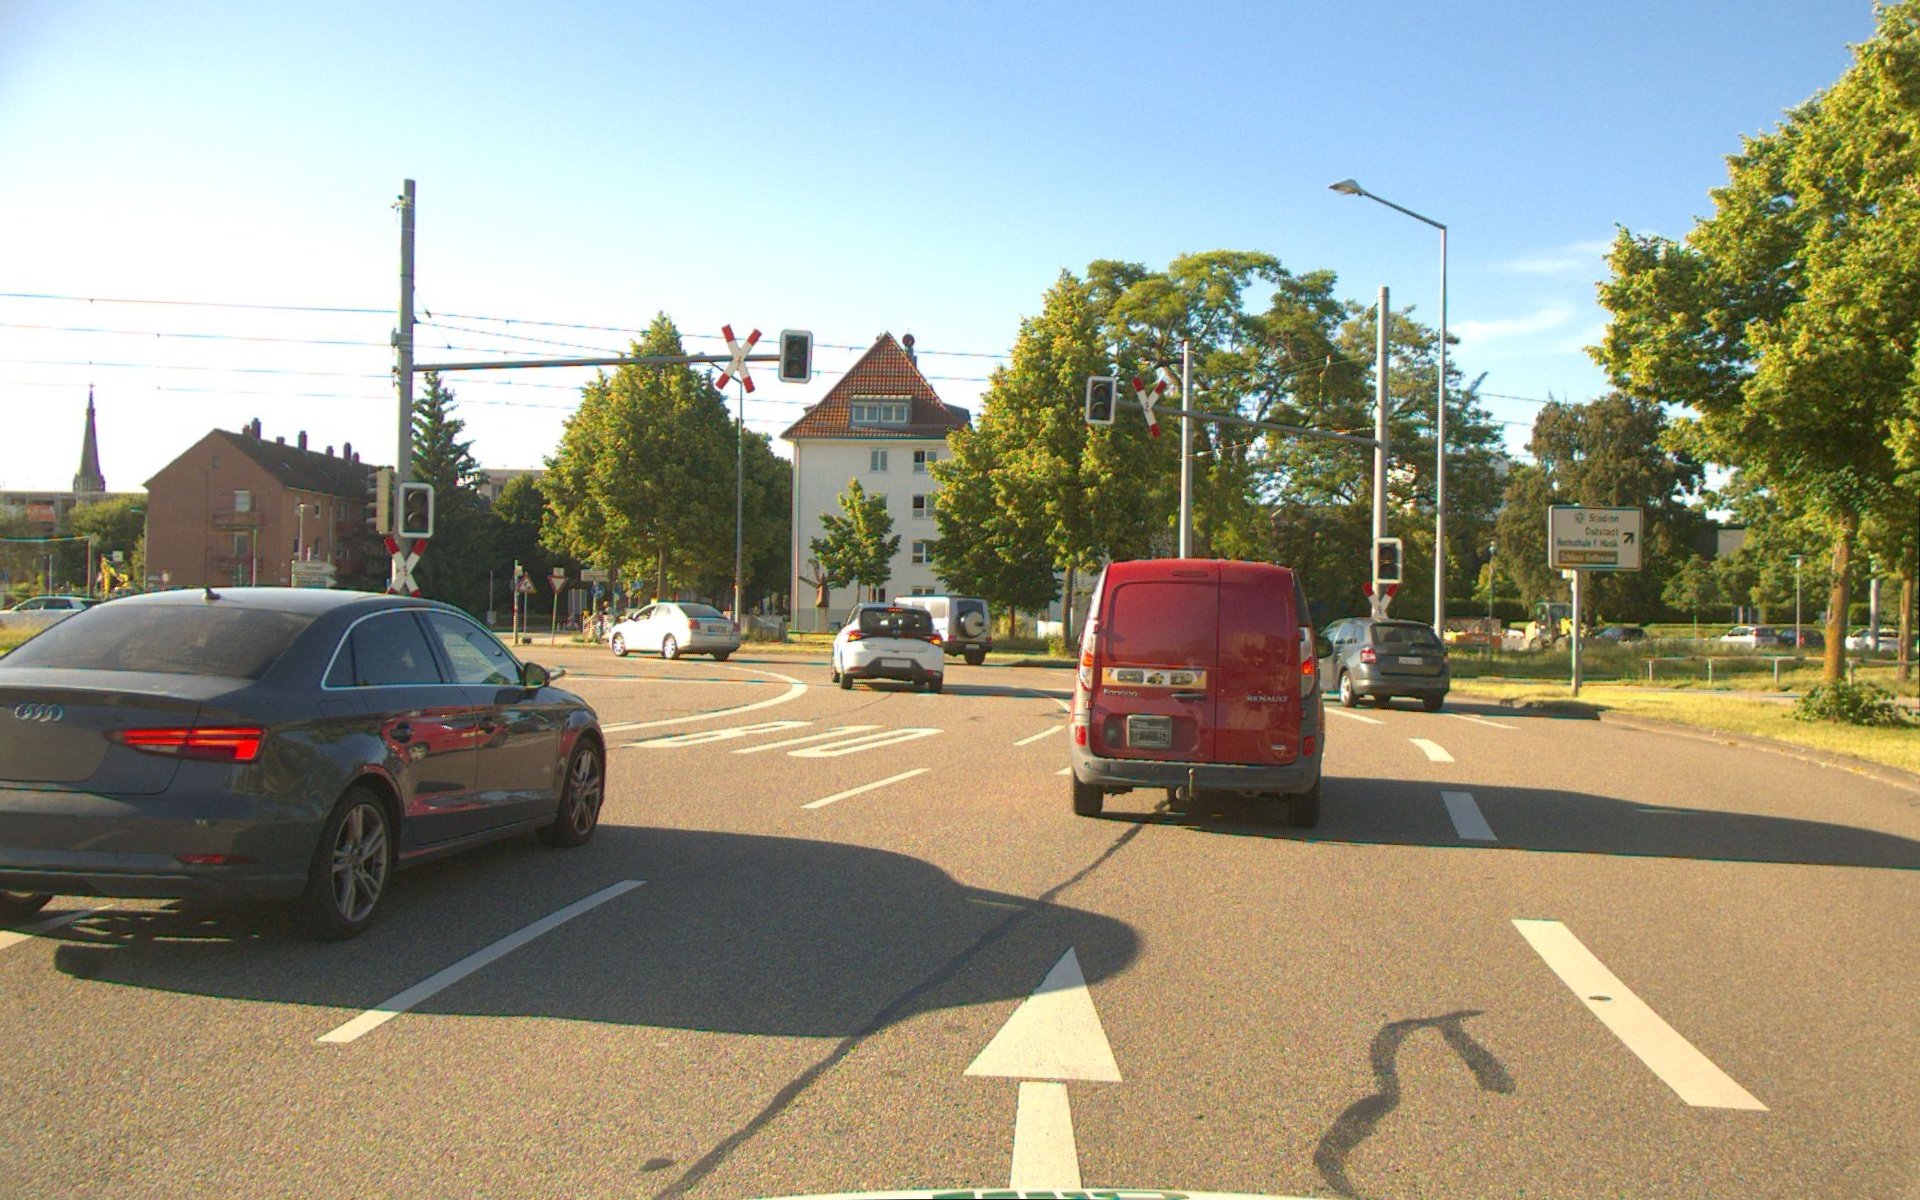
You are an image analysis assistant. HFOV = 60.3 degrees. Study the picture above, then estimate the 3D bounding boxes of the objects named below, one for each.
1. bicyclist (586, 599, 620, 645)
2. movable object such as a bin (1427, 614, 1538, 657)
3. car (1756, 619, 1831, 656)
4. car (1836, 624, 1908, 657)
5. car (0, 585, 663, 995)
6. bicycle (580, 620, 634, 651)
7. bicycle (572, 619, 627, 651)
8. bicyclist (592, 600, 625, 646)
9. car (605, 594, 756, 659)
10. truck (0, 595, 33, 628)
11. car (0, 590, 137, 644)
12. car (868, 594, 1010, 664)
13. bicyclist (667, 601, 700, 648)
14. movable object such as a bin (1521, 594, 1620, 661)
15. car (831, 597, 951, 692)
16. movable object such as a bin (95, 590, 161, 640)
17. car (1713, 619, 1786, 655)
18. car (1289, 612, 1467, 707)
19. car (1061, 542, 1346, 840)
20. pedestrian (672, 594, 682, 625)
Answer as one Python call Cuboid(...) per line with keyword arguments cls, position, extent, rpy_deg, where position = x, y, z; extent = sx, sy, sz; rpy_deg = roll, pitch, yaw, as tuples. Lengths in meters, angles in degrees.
Cuboid(cls="bicyclist", position=(-14.995, 0.933, 69.469), extent=(1.004, 1.885, 0.883), rpy_deg=(0, -3, 30))
Cuboid(cls="movable object such as a bin", position=(26.561, 1.807, 84.108), extent=(4.910, 1.982, 2.236), rpy_deg=(2, -2, -7))
Cuboid(cls="car", position=(43.538, 1.977, 86.490), extent=(1.952, 1.800, 3.999), rpy_deg=(2, -2, 1))
Cuboid(cls="car", position=(47.520, 2.143, 86.215), extent=(1.789, 1.583, 3.807), rpy_deg=(2, -2, 3))
Cuboid(cls="car", position=(-3.045, 0.655, 8.048), extent=(1.723, 1.404, 4.362), rpy_deg=(1, 0, 10))
Cuboid(cls="bicycle", position=(-15.103, 1.522, 70.819), extent=(2.160, 1.288, 0.883), rpy_deg=(0, -3, 29))
Cuboid(cls="bicycle", position=(-15.140, 1.467, 69.510), extent=(2.160, 1.288, 0.883), rpy_deg=(0, -3, 29))
Cuboid(cls="bicyclist", position=(-15.040, 0.987, 70.813), extent=(1.004, 1.885, 0.883), rpy_deg=(0, -3, 30))
Cuboid(cls="car", position=(-7.457, 0.676, 43.884), extent=(1.982, 1.602, 4.342), rpy_deg=(1, 0, -41))
Cuboid(cls="truck", position=(-64.962, 0.713, 110.271), extent=(6.286, 2.049, 2.170), rpy_deg=(1, -3, 24))
Cuboid(cls="car", position=(-29.234, 0.527, 53.384), extent=(4.301, 1.668, 2.001), rpy_deg=(1, 0, 3))
Cuboid(cls="car", position=(-0.681, 0.847, 48.515), extent=(1.978, 1.930, 4.698), rpy_deg=(2, -2, -33))
Cuboid(cls="bicyclist", position=(-11.516, 1.022, 68.896), extent=(1.001, 1.885, 0.812), rpy_deg=(1, -3, 18))
Cuboid(cls="movable object such as a bin", position=(27.404, 1.278, 74.433), extent=(1.957, 2.838, 5.035), rpy_deg=(2, -2, -10))
Cuboid(cls="car", position=(-1.265, 0.768, 28.904), extent=(1.768, 1.487, 3.803), rpy_deg=(2, -2, -7))
Cuboid(cls="movable object such as a bin", position=(-49.514, 0.916, 98.454), extent=(2.407, 2.822, 3.937), rpy_deg=(4, -3, -43))
Cuboid(cls="car", position=(41.427, 1.965, 86.867), extent=(1.952, 1.754, 3.999), rpy_deg=(2, -2, 1))
Cuboid(cls="car", position=(6.999, 0.951, 28.124), extent=(1.680, 1.461, 4.147), rpy_deg=(1, 0, -5))
Cuboid(cls="car", position=(1.883, 0.568, 12.604), extent=(1.764, 1.845, 3.813), rpy_deg=(2, 1, 10))
Cuboid(cls="pedestrian", position=(-18.984, 0.656, 110.906), extent=(0.460, 2.049, 0.455), rpy_deg=(1, -1, 10))
